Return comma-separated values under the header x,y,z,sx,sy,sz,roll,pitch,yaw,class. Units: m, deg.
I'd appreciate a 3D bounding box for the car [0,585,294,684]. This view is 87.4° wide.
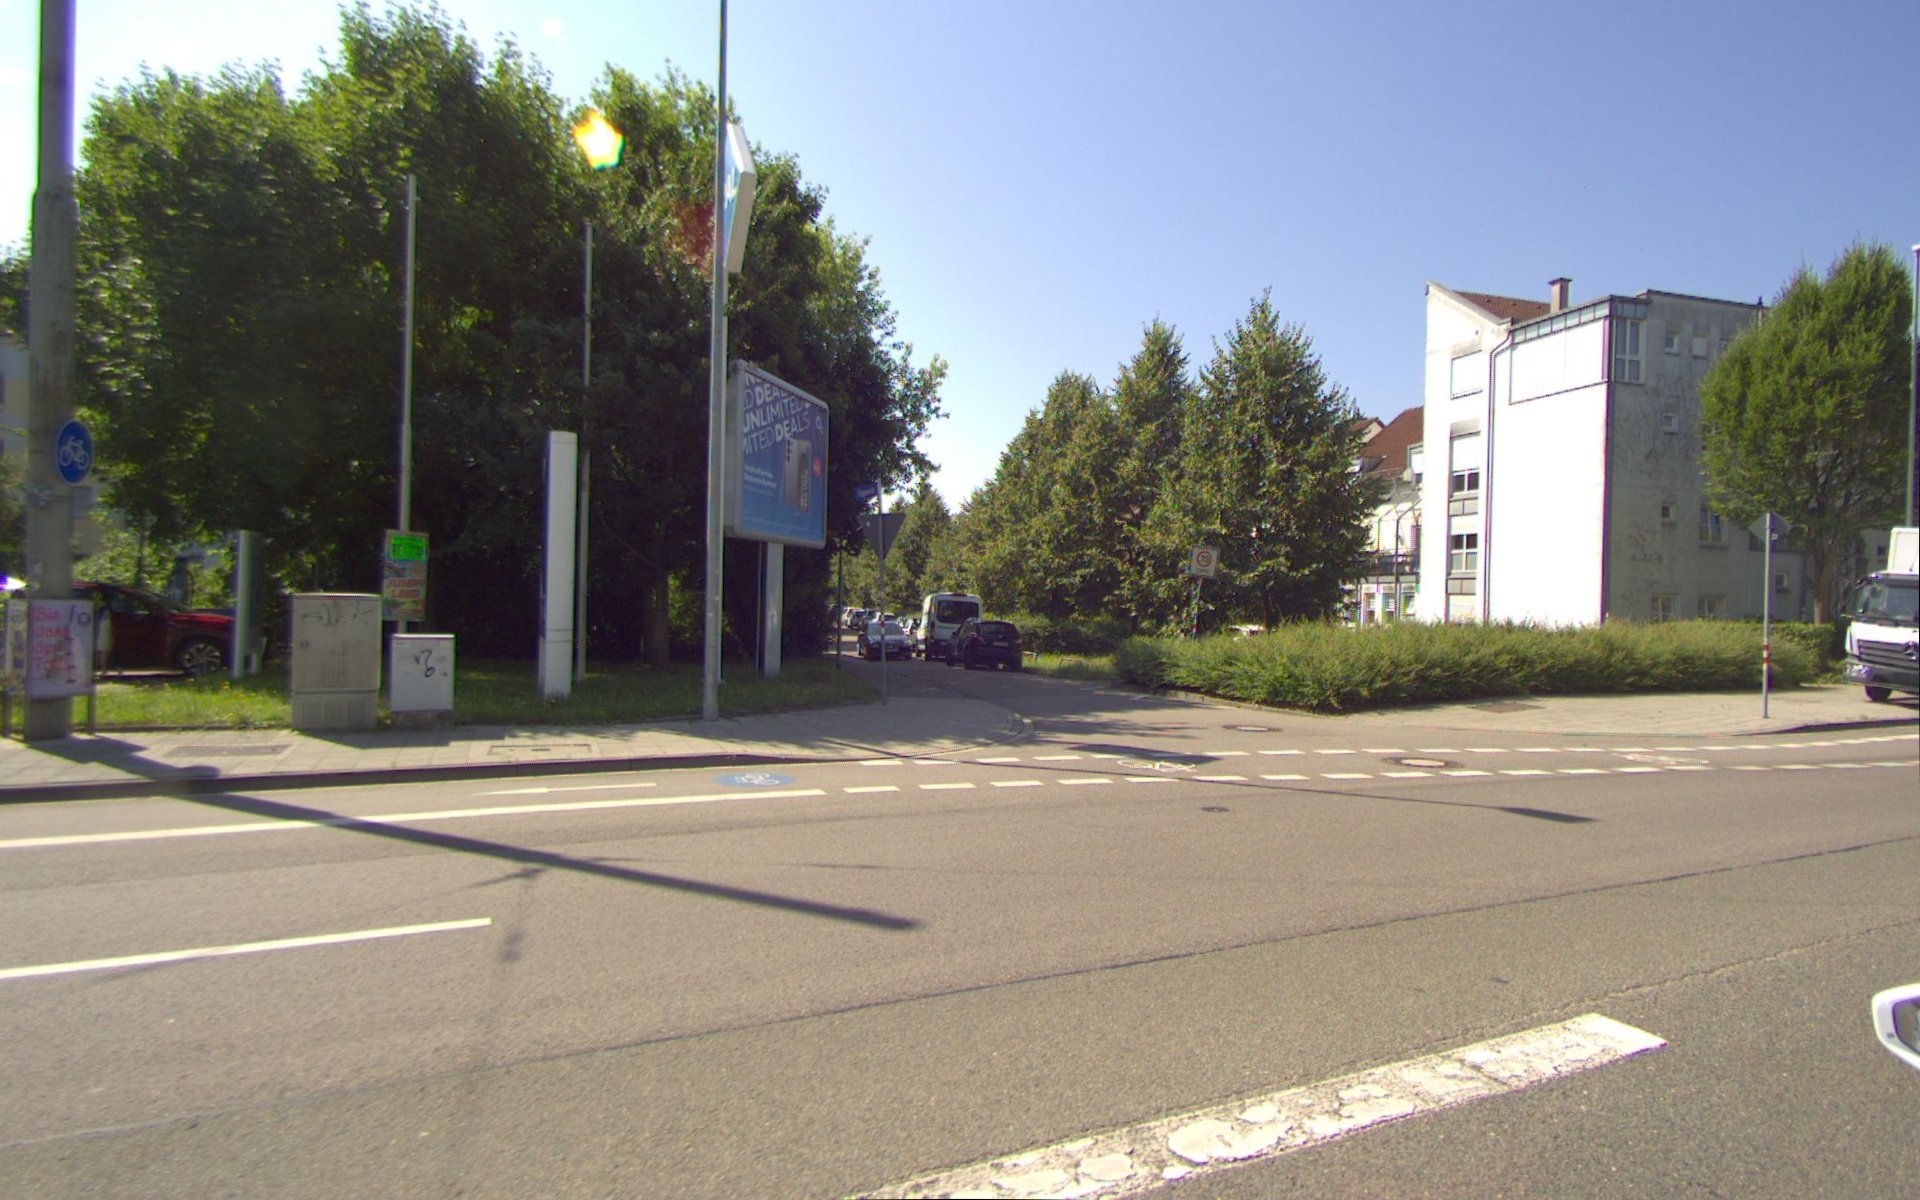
x,y,z,sx,sy,sz,roll,pitch,yaw,class
-14.521,0.544,17.646,4.457,1.591,1.794,0,0,-26,car

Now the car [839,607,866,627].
x,y,z,sx,sy,sz,roll,pitch,yaw,class
-8.198,1.292,76.581,1.687,1.462,3.654,1,-1,-11,car

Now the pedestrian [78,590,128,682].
x,y,z,sx,sy,sz,roll,pitch,yaw,class
-14.379,0.598,16.866,0.493,1.501,0.497,1,0,-25,pedestrian

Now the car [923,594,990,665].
x,y,z,sx,sy,sz,roll,pitch,yaw,class
-0.194,1.116,38.936,1.757,2.572,4.178,1,-1,-11,car

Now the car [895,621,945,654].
x,y,z,sx,sy,sz,roll,pitch,yaw,class
-1.905,1.742,47.373,1.786,1.462,3.654,1,-1,-11,car

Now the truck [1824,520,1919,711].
x,y,z,sx,sy,sz,roll,pitch,yaw,class
21.742,0.375,20.673,8.473,3.578,2.659,1,2,-25,truck

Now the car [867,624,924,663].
x,y,z,sx,sy,sz,roll,pitch,yaw,class
-2.590,1.670,39.598,1.604,1.379,3.990,1,-1,-13,car

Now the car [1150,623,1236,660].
x,y,z,sx,sy,sz,roll,pitch,yaw,class
8.388,1.480,36.465,1.548,1.221,3.652,1,-1,-14,car

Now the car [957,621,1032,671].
x,y,z,sx,sy,sz,roll,pitch,yaw,class
1.065,1.457,32.790,1.632,1.503,3.603,1,-1,-12,car

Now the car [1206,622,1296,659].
x,y,z,sx,sy,sz,roll,pitch,yaw,class
10.615,1.467,36.922,1.548,1.221,3.652,1,-1,-14,car

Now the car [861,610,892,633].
x,y,z,sx,sy,sz,roll,pitch,yaw,class
-5.706,1.461,68.702,1.687,1.462,3.654,1,-1,-11,car

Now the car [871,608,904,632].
x,y,z,sx,sy,sz,roll,pitch,yaw,class
-4.678,1.240,64.475,1.687,1.462,3.654,1,-1,-11,car
